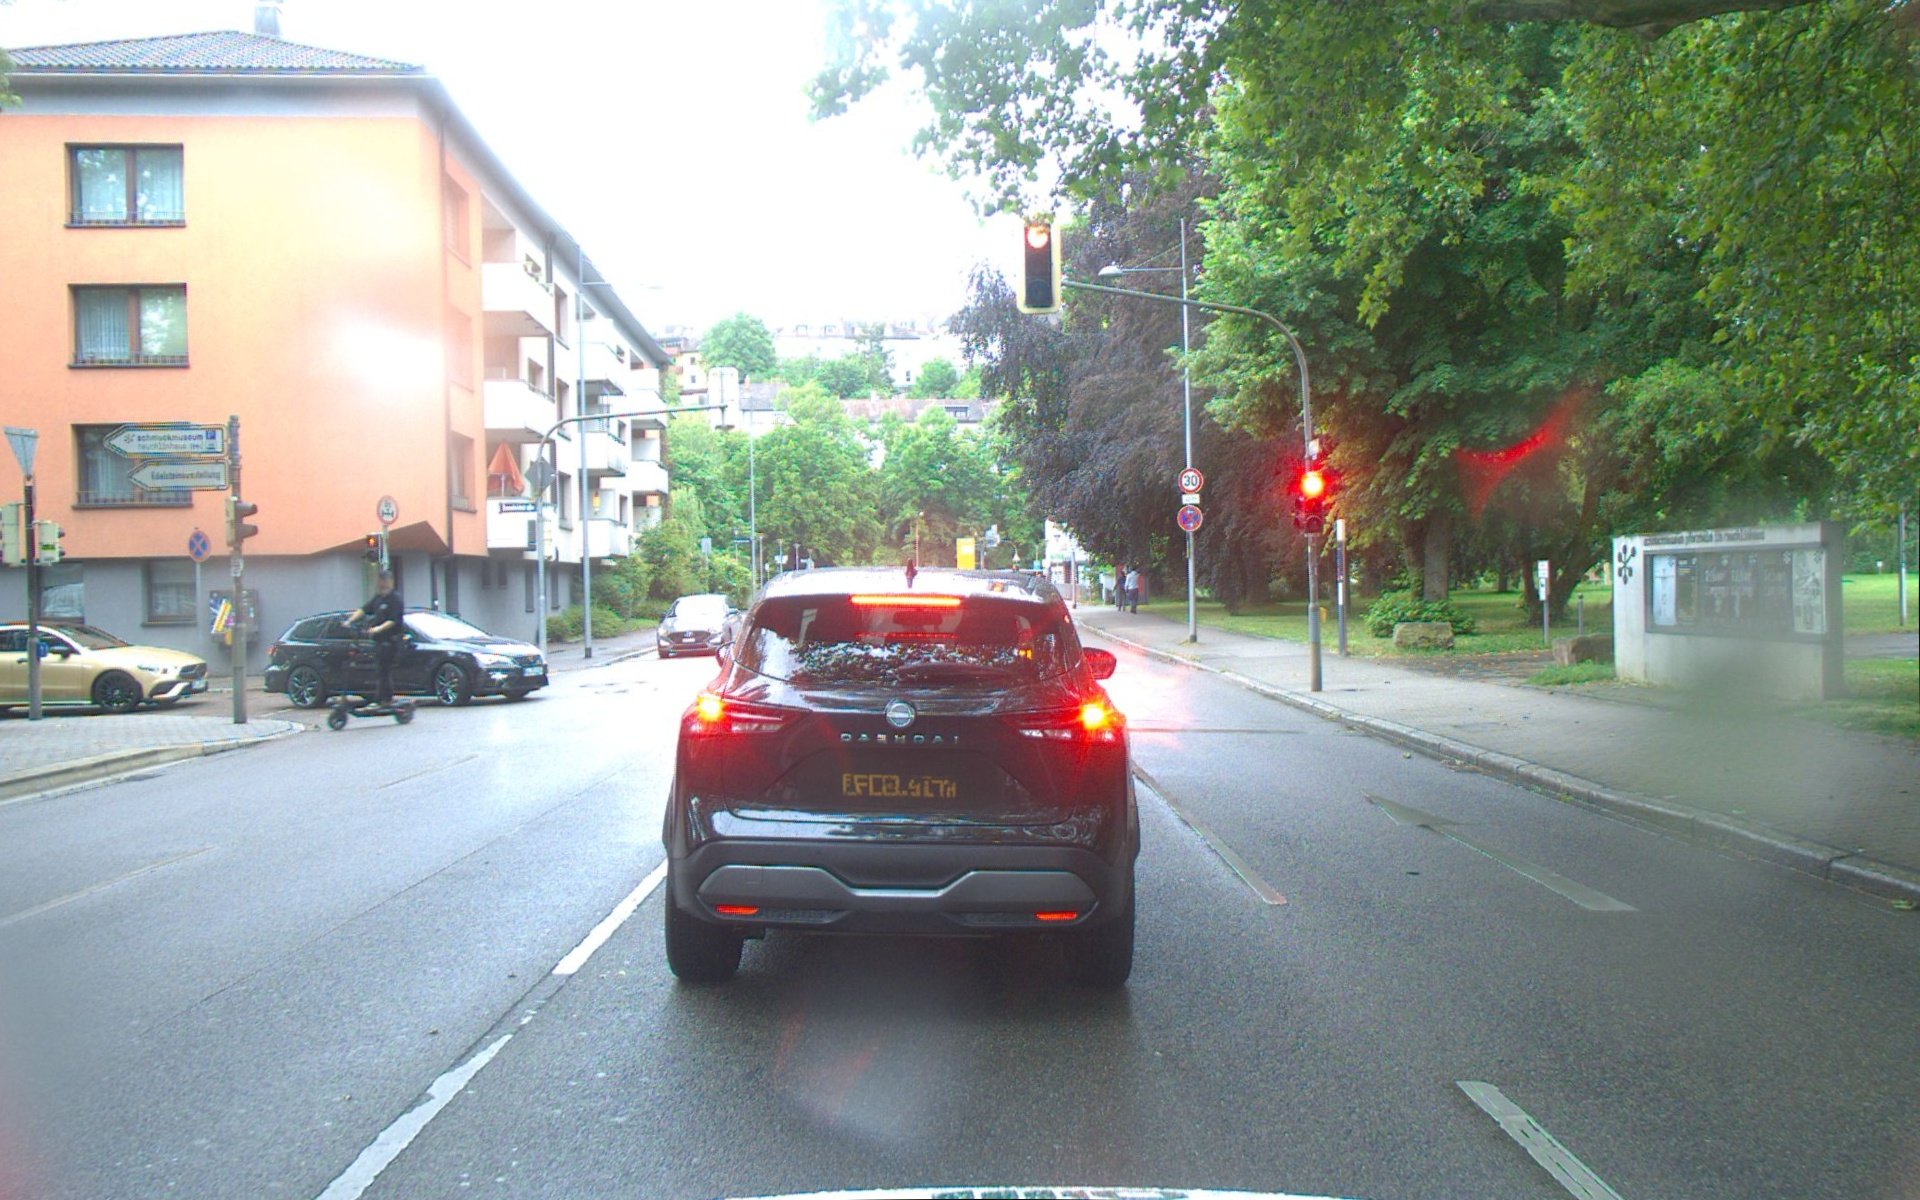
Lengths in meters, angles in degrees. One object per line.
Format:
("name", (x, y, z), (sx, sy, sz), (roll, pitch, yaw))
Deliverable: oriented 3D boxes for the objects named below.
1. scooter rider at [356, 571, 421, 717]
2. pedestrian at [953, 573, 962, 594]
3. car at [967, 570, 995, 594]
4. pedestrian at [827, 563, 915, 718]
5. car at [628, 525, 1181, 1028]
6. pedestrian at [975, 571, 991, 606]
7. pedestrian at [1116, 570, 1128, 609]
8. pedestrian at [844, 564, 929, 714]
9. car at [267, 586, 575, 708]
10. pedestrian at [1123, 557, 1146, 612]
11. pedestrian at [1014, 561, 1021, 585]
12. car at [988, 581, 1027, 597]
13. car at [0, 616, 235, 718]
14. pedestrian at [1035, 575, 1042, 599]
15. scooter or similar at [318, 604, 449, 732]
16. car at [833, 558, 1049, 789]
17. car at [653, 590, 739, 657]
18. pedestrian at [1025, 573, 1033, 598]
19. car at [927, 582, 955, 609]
("scooter rider", (-7.185, 0.546, 20.785), (0.636, 1.797, 0.728), (0, -1, -30))
("pedestrian", (-0.195, -1.333, 135.699), (0.498, 1.702, 0.658), (-2, 0, 27))
("car", (1.629, -1.402, 128.521), (1.952, 1.765, 4.002), (1, 0, 4))
("pedestrian", (-1.126, 0.497, 20.787), (1.017, 1.909, 0.656), (0, 0, -12))
("car", (-0.211, 0.587, 7.635), (1.874, 1.709, 3.999), (0, 0, -1))
("pedestrian", (1.198, -0.594, 86.666), (0.504, 1.833, 0.612), (-2, 0, -34))
("pedestrian", (6.579, -0.428, 67.084), (0.382, 1.528, 0.559), (-2, 0, -1))
("pedestrian", (-0.960, 0.500, 21.542), (1.017, 1.909, 0.656), (0, 0, -12))
("car", (-8.142, 0.706, 25.092), (4.036, 1.654, 1.853), (-2, 0, 14))
("pedestrian", (6.597, -0.591, 62.694), (0.710, 2.049, 0.851), (-2, 0, -1))
("pedestrian", (4.430, -2.067, 127.400), (0.498, 1.833, 0.619), (-2, 0, -1))
("car", (5.106, -1.182, 177.426), (3.881, 1.559, 1.636), (-2, 0, -9))
("car", (-14.262, 1.069, 26.370), (4.541, 1.428, 1.831), (-2, 0, -1))
("pedestrian", (6.018, -1.014, 126.878), (0.498, 1.833, 0.619), (-2, 0, -2))
("scooter or similar", (-7.236, 0.830, 20.773), (1.379, 1.470, 0.809), (-4, 2, -29))
("car", (-0.177, 0.567, 14.999), (1.664, 1.776, 3.640), (-2, 0, -1))
("car", (-6.584, 0.550, 41.575), (1.760, 1.560, 3.864), (-2, 0, -4))
("pedestrian", (5.290, -1.115, 126.885), (0.498, 1.833, 0.659), (-2, 0, 3))
("car", (-1.144, -0.284, 99.185), (1.601, 1.559, 3.967), (-2, 1, -1))
